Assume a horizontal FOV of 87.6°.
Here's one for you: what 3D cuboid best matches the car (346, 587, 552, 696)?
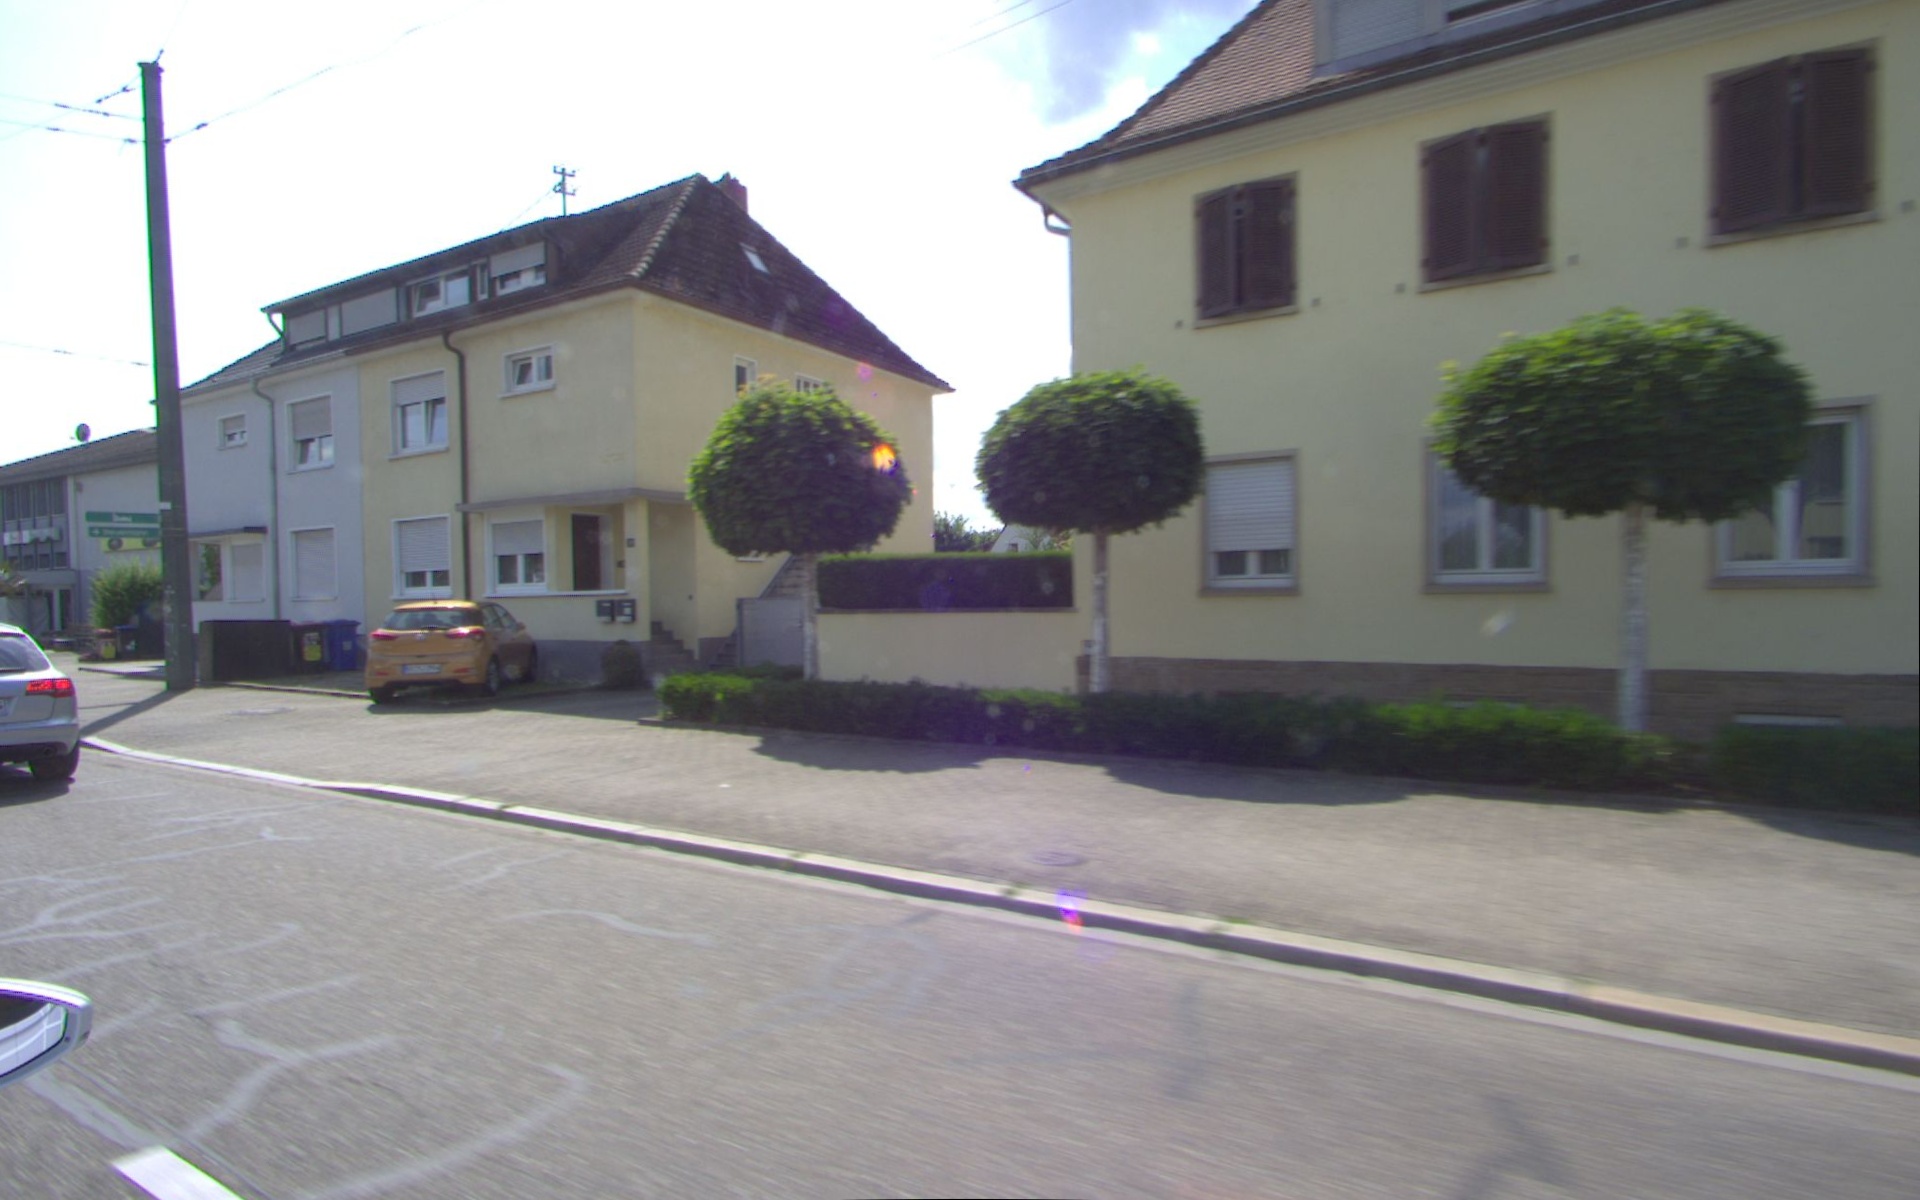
[{"bbox_3d":[-8.192,0.575,16.496,1.880,1.478,4.087,0,2,-10],"label":"car"}]

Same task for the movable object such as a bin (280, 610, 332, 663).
[{"bbox_3d":[-13.259,0.729,20.314,0.674,1.061,0.637,0,1,30],"label":"movable object such as a bin"}]

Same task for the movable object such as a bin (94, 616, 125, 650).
[{"bbox_3d":[-23.309,0.902,27.436,0.537,0.907,0.444,0,2,25],"label":"movable object such as a bin"}]

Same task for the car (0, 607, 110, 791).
[{"bbox_3d":[-9.913,0.829,9.361,4.472,1.512,1.850,0,0,34],"label":"car"}]

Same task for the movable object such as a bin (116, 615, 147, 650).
[{"bbox_3d":[-23.061,0.889,27.874,0.541,0.947,0.441,0,2,25],"label":"movable object such as a bin"}]

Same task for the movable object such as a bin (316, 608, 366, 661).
[{"bbox_3d":[-12.947,0.704,20.945,0.649,1.070,0.644,0,1,30],"label":"movable object such as a bin"}]
